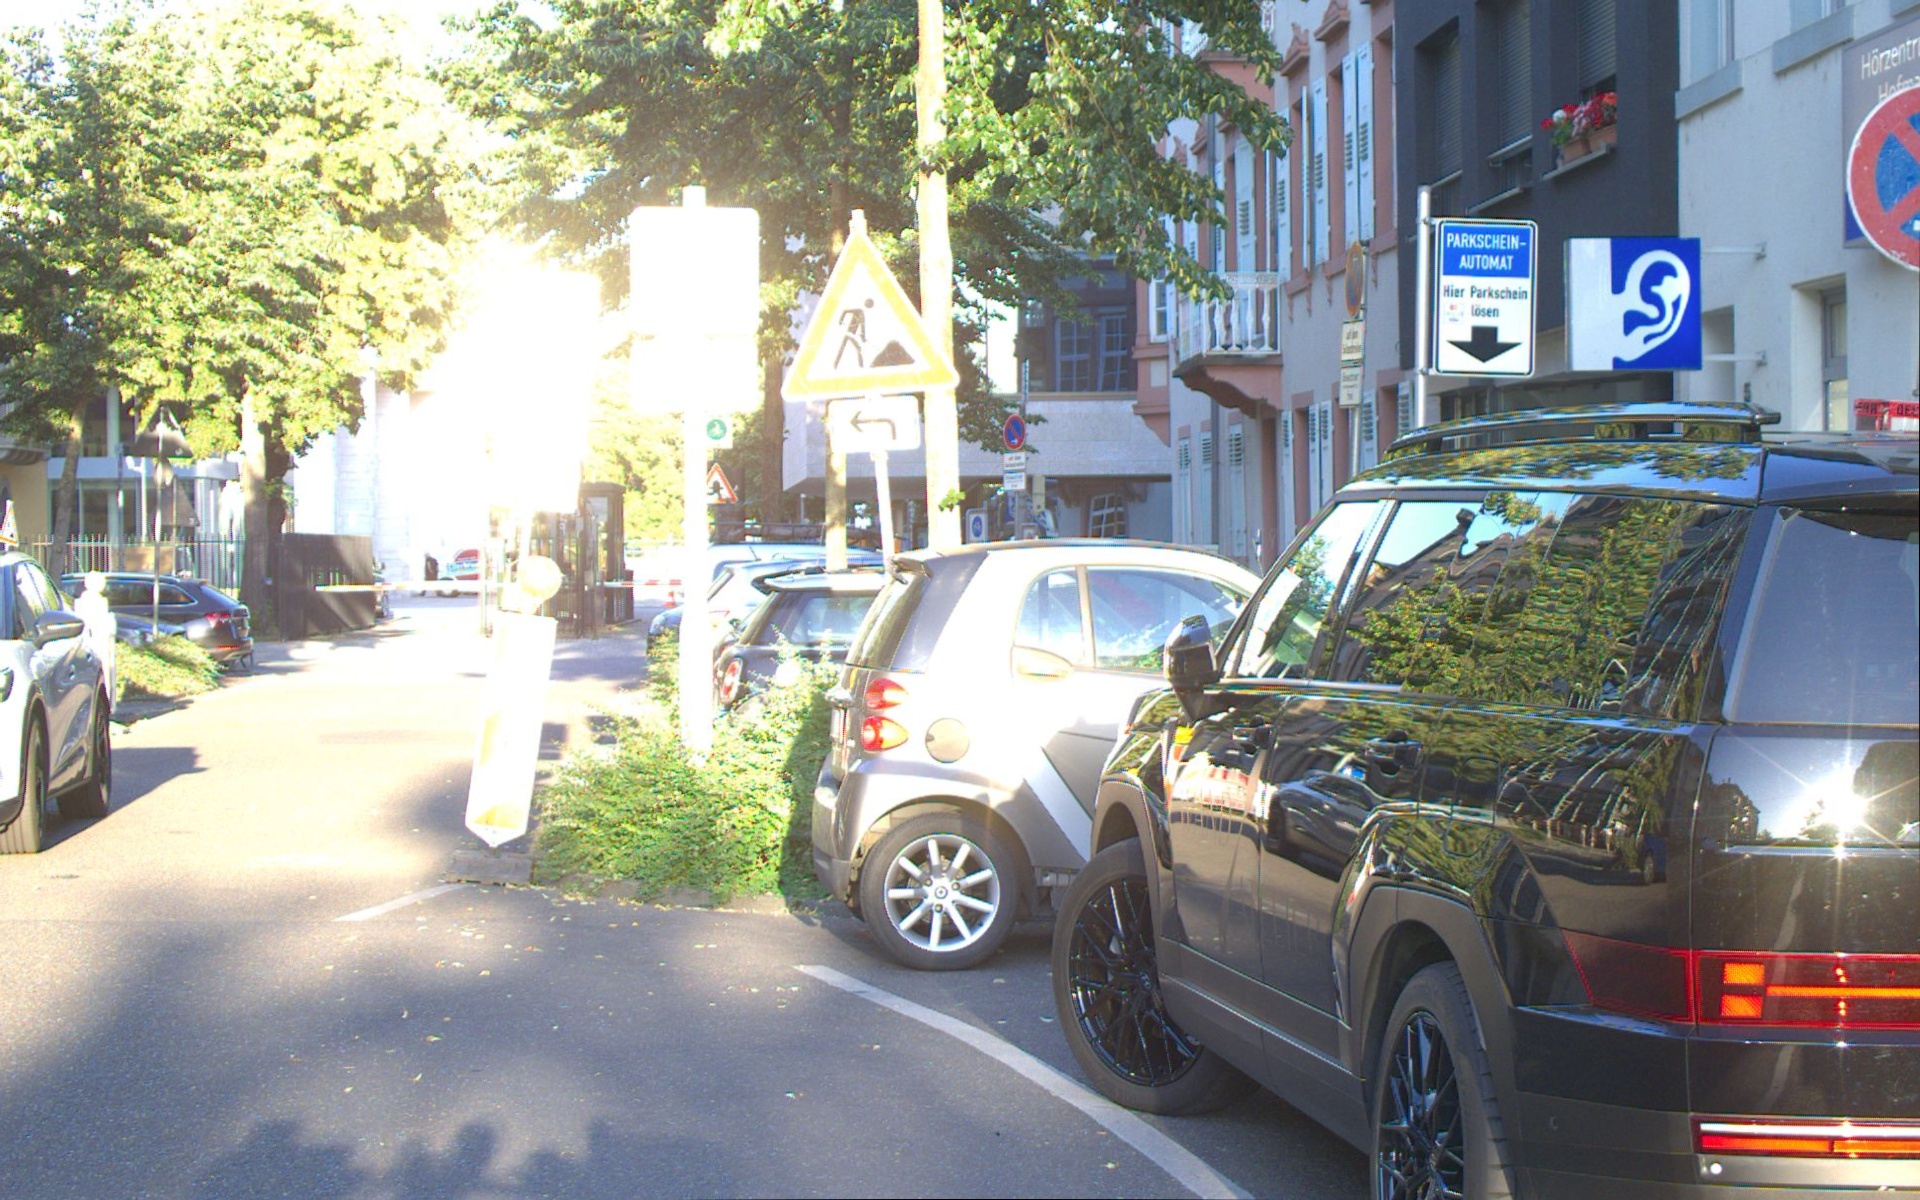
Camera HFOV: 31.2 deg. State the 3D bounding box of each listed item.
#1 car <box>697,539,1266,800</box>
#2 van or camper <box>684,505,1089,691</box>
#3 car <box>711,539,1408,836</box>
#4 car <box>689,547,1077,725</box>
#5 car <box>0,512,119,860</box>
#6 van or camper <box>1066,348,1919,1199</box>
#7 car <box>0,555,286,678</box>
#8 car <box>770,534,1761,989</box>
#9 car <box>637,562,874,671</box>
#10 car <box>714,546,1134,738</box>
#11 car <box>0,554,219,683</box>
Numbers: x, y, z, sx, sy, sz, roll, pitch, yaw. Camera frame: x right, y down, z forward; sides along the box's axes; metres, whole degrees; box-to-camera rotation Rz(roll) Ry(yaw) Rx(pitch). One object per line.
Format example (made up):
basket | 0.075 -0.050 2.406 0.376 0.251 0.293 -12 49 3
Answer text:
car | 0.083 0.451 23.433 3.684 1.664 1.859 1 1 -5
van or camper | -0.877 -0.026 39.018 4.439 1.999 1.859 1 1 -5
car | 0.525 0.502 20.777 3.994 1.664 1.859 1 1 -5
car | -0.799 0.339 33.914 3.684 1.664 1.859 1 1 -5
car | -5.816 0.438 18.761 1.872 1.692 4.322 -3 1 -8
van or camper | 1.561 0.499 7.387 1.889 1.801 4.462 0 1 -9
car | -11.688 0.214 48.520 3.987 1.678 1.891 0 1 -1
car | 1.110 0.548 13.109 3.469 1.570 1.508 -1 1 -12
car | -3.061 0.234 52.100 1.855 1.563 3.691 1 1 30
car | -0.375 0.366 31.436 3.684 1.664 1.859 1 1 -5
car | -12.063 0.233 45.819 3.987 1.678 1.891 0 1 -1
